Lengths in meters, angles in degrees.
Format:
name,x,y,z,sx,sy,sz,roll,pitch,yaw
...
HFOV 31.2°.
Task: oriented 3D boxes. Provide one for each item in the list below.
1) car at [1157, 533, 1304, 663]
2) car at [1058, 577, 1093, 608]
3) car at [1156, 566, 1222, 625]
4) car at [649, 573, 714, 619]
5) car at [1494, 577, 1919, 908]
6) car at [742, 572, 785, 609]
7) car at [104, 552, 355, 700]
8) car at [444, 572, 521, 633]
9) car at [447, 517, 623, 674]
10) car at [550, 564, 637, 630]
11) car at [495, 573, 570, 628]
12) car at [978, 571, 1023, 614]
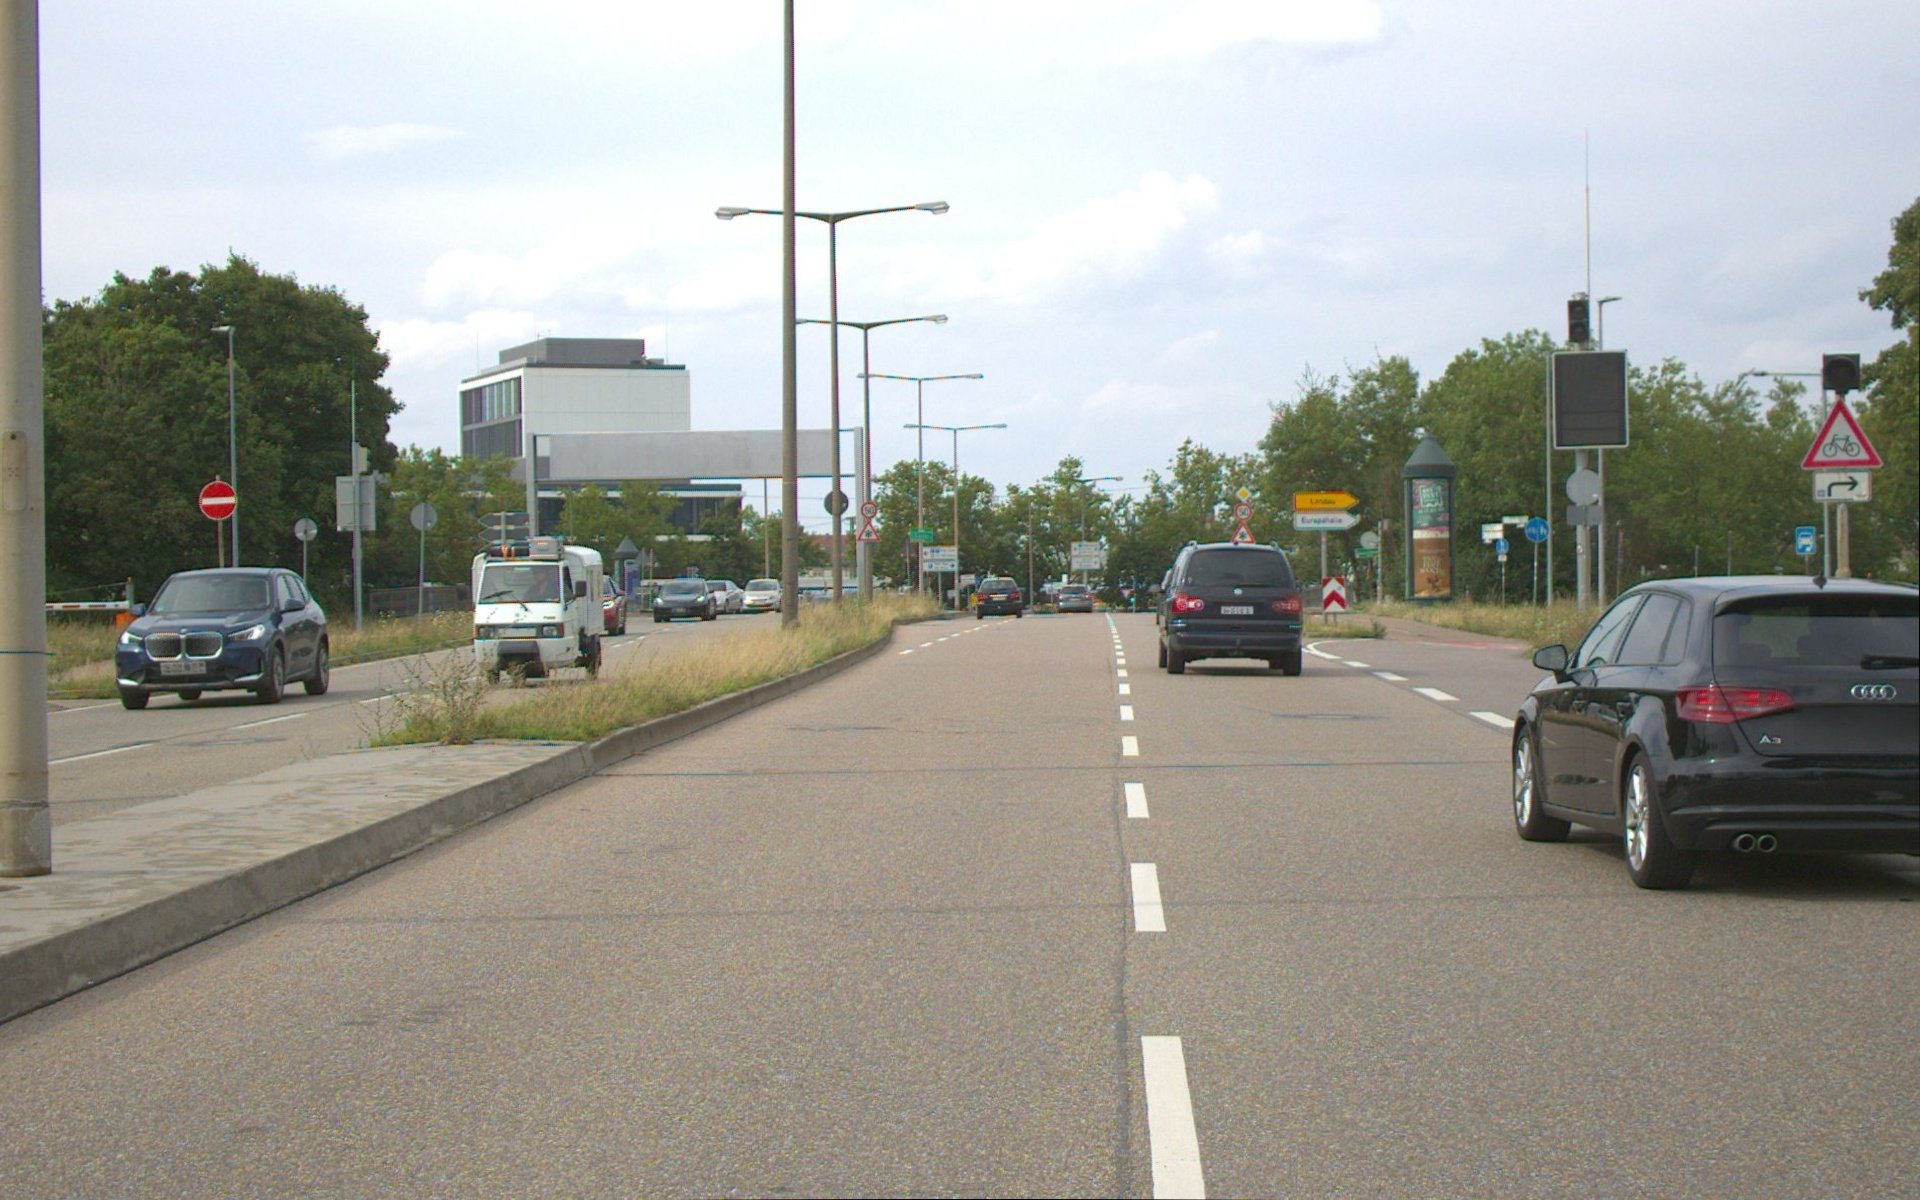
name,x,y,z,sx,sy,sz,roll,pitch,yaw
car,3.572,-0.038,45.932,1.730,1.647,4.115,0,0,1
car,5.834,-0.388,174.377,1.730,1.521,4.115,0,0,2
car,6.545,-0.143,98.542,1.730,1.647,4.115,0,0,1
car,-9.388,-0.144,116.130,1.745,1.470,4.565,-1,1,0
car,3.781,0.588,16.577,1.730,1.390,4.115,0,0,-1
car,-9.002,-0.436,157.593,1.745,1.593,4.565,-1,1,-1
car,-8.711,0.264,41.377,1.747,1.580,4.586,-2,1,3
car,-16.469,0.054,118.662,1.993,2.007,4.000,1,1,1
car,-5.376,-0.093,43.889,1.540,1.864,3.570,-2,1,3
car,-9.319,-0.095,87.595,1.651,1.569,4.338,-3,1,0
car,-14.167,0.011,114.186,1.993,1.744,4.000,1,1,0
car,1.599,-0.299,134.969,1.730,1.647,4.115,0,0,1
